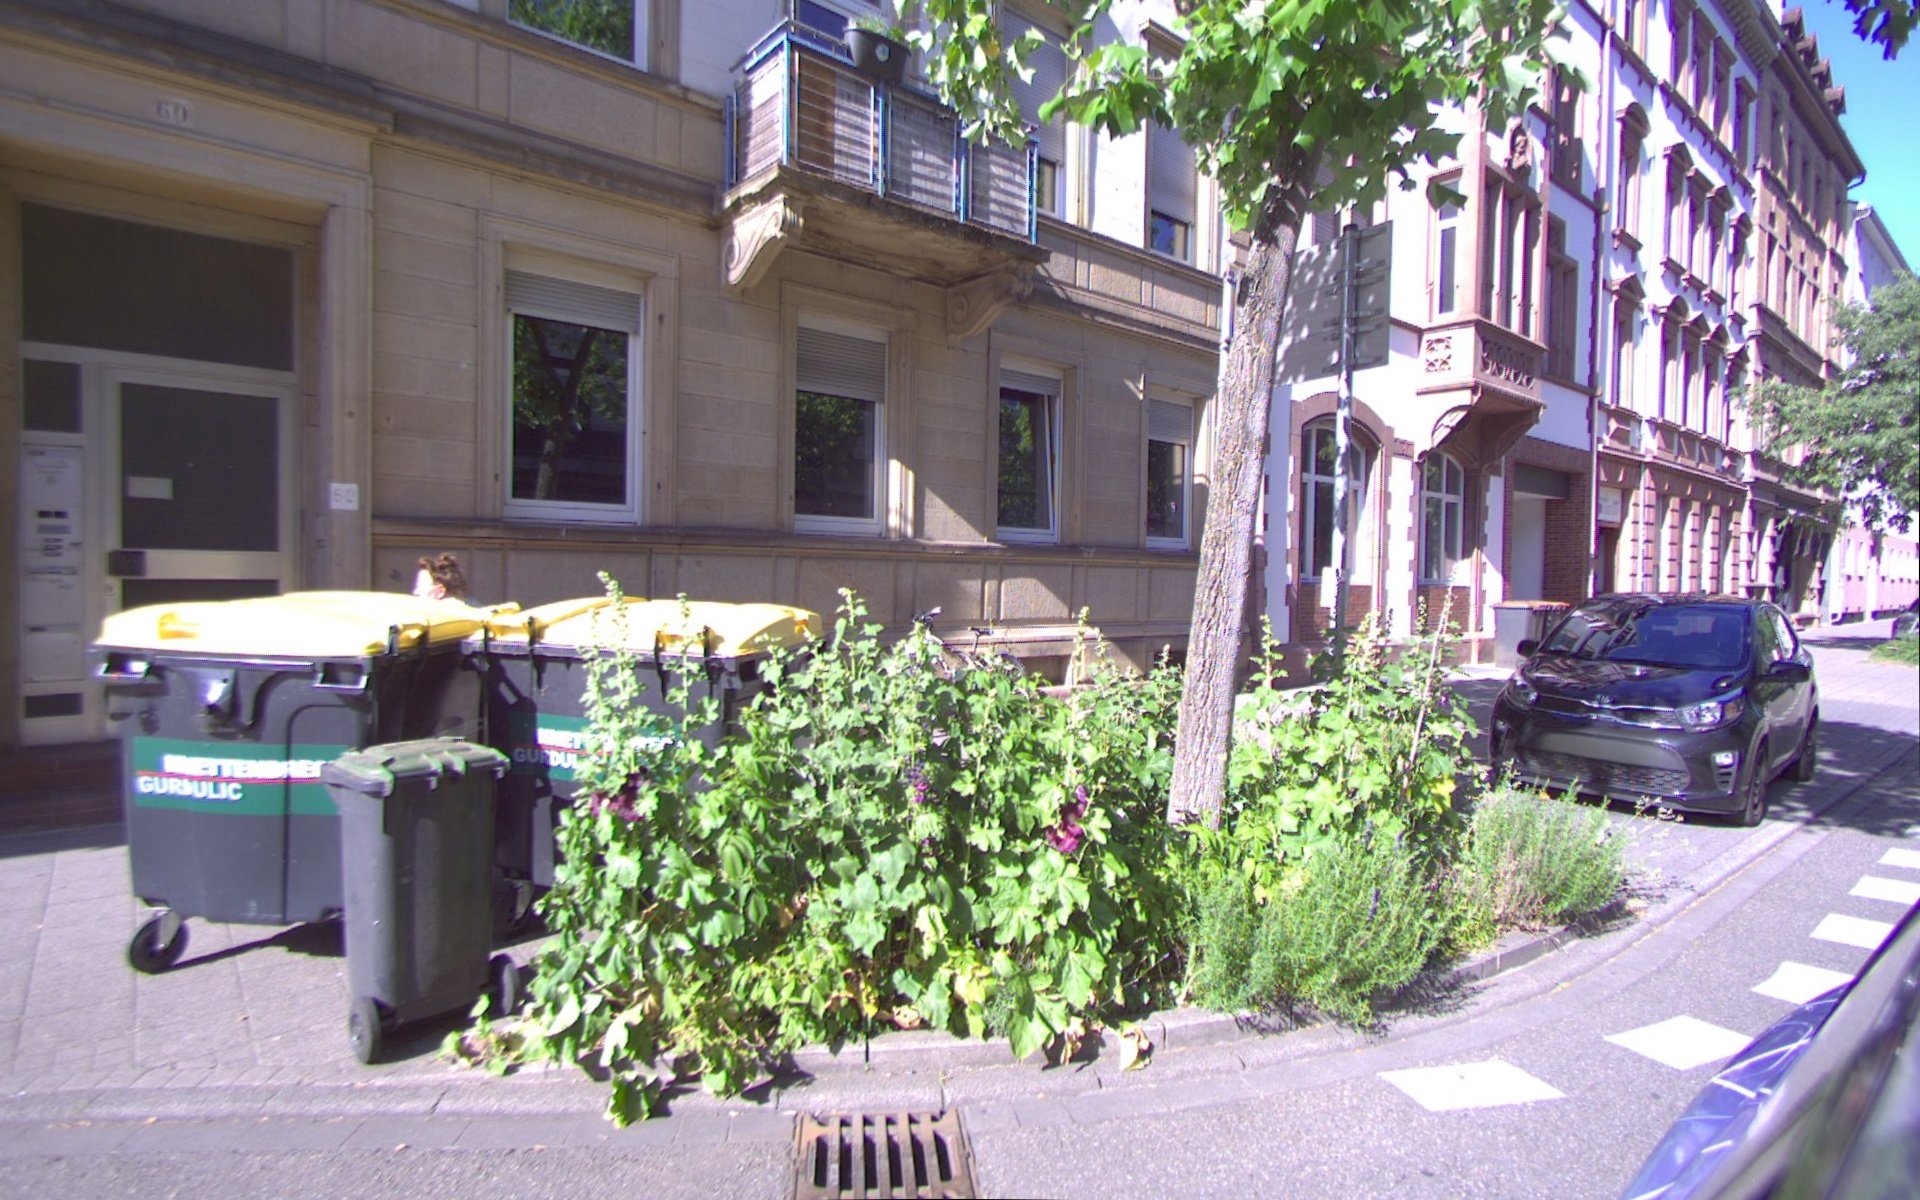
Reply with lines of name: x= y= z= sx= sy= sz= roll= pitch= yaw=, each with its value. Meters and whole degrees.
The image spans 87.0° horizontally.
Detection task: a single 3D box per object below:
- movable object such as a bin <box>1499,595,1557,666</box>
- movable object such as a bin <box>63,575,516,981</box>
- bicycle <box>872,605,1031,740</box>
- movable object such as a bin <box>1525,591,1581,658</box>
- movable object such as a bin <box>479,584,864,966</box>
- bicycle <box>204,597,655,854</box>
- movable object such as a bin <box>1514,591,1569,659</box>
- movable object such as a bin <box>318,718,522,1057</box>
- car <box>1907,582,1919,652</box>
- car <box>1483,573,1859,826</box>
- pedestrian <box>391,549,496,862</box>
movable object such as a bin: x=9.150 y=0.475 z=16.306 sx=0.621 sy=1.082 sz=0.639 roll=0 pitch=1 yaw=-41
movable object such as a bin: x=-2.522 y=0.606 z=3.995 sx=1.087 sy=1.364 sz=1.042 roll=0 pitch=3 yaw=-1
bicycle: x=-0.052 y=0.590 z=8.817 sx=1.403 sy=1.043 sz=0.433 roll=-1 pitch=5 yaw=-41
movable object such as a bin: x=10.016 y=0.395 z=17.081 sx=0.628 sy=1.082 sz=0.639 roll=0 pitch=1 yaw=-41
movable object such as a bin: x=-1.150 y=0.631 z=4.333 sx=1.250 sy=1.364 sz=1.106 roll=1 pitch=1 yaw=8
bicycle: x=-2.770 y=0.577 z=5.473 sx=2.083 sy=1.163 sz=0.538 roll=0 pitch=1 yaw=-34
movable object such as a bin: x=9.604 y=0.405 z=16.712 sx=0.512 sy=1.082 sz=0.639 roll=0 pitch=1 yaw=-40
movable object such as a bin: x=-1.803 y=0.909 z=3.390 sx=0.441 sy=0.941 sz=0.466 roll=1 pitch=1 yaw=37
car: x=22.175 y=0.352 z=22.107 sx=4.233 sy=1.469 sz=1.741 roll=-1 pitch=2 yaw=-41
car: x=5.613 y=0.556 z=7.841 sx=3.519 sy=1.494 sz=1.638 roll=-1 pitch=2 yaw=-42
pedestrian: x=-2.587 y=0.492 z=5.065 sx=0.383 sy=1.487 sz=0.368 roll=0 pitch=2 yaw=-41
